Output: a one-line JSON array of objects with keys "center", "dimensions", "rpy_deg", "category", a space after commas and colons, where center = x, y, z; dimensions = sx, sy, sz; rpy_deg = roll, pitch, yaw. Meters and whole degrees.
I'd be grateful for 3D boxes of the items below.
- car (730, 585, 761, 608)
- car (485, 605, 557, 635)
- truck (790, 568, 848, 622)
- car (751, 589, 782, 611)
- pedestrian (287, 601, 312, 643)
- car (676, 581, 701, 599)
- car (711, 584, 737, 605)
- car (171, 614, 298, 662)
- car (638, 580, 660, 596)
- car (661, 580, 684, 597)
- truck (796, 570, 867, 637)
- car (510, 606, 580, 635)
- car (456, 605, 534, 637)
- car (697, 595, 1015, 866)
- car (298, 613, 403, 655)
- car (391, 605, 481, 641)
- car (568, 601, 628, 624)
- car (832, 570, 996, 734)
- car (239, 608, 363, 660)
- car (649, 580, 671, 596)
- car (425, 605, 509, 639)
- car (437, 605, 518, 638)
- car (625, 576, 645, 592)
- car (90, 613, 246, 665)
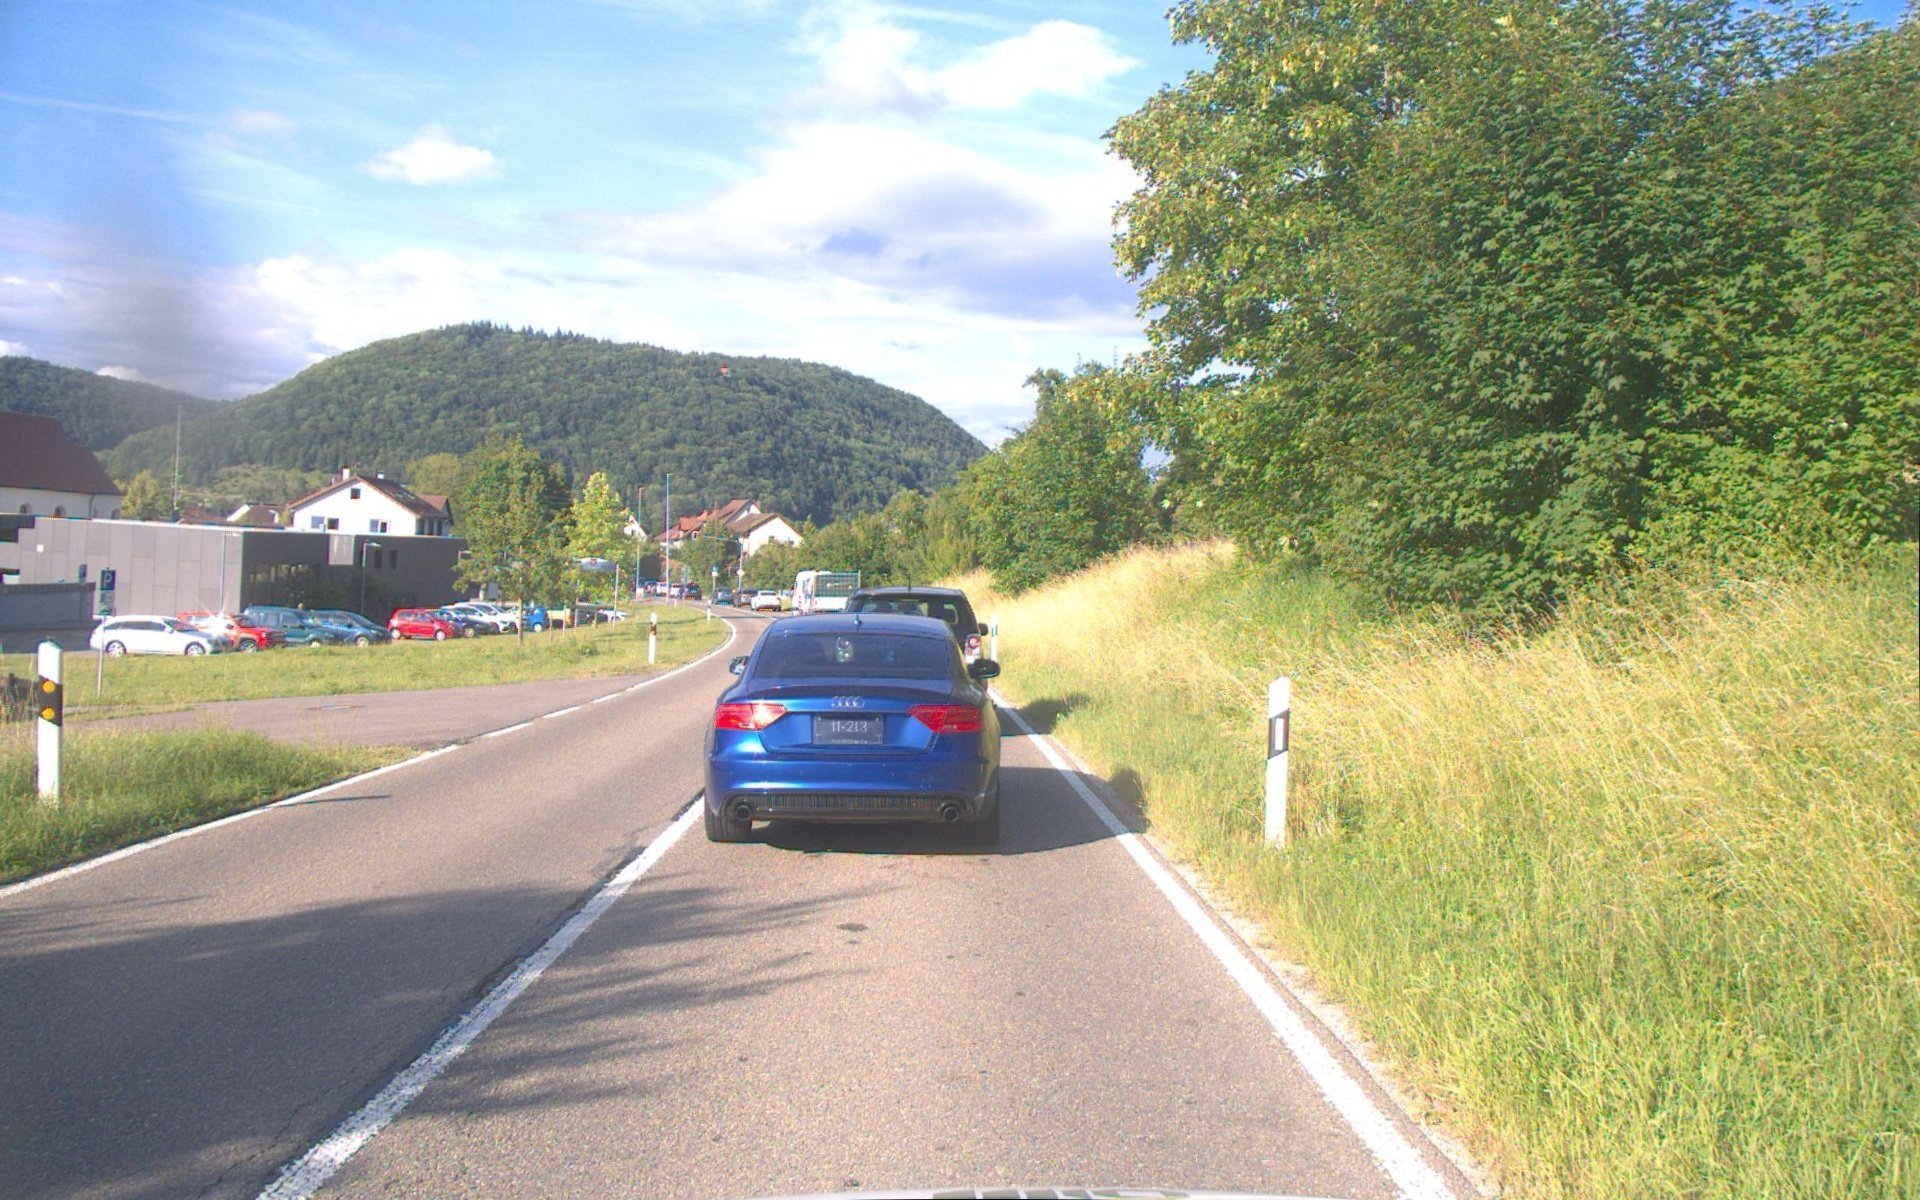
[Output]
[{"center": [-16.835, -0.303, 129.698], "dimensions": [1.815, 1.742, 3.984], "rpy_deg": [1, 0, -15], "category": "car"}, {"center": [-26.743, 1.235, 100.893], "dimensions": [3.907, 1.741, 1.999], "rpy_deg": [1, 0, -3], "category": "car"}, {"center": [-7.238, -0.219, 84.126], "dimensions": [2.190, 2.615, 6.689], "rpy_deg": [1, 0, -11], "category": "truck"}, {"center": [-13.688, -0.023, 117.037], "dimensions": [1.813, 1.508, 3.988], "rpy_deg": [1, 0, -12], "category": "car"}, {"center": [-32.538, 1.089, 81.529], "dimensions": [0.808, 2.049, 0.973], "rpy_deg": [1, -1, -1], "category": "pedestrian"}, {"center": [-26.779, -0.992, 163.301], "dimensions": [1.817, 1.742, 3.979], "rpy_deg": [1, 0, -18], "category": "car"}, {"center": [-20.549, -0.478, 143.979], "dimensions": [1.815, 1.742, 3.984], "rpy_deg": [1, 0, -15], "category": "car"}, {"center": [-27.588, 1.435, 62.994], "dimensions": [3.907, 1.741, 1.999], "rpy_deg": [1, 0, -3], "category": "car"}, {"center": [-35.526, -1.372, 188.836], "dimensions": [1.818, 1.742, 3.977], "rpy_deg": [1, 0, -19], "category": "car"}, {"center": [-30.078, -1.217, 172.938], "dimensions": [1.817, 1.742, 3.979], "rpy_deg": [1, 0, -18], "category": "car"}, {"center": [-5.388, 0.136, 68.614], "dimensions": [2.190, 2.615, 6.087], "rpy_deg": [1, 0, -11], "category": "truck"}, {"center": [-25.968, 1.263, 103.579], "dimensions": [3.907, 1.741, 1.999], "rpy_deg": [1, 0, -3], "category": "car"}, {"center": [-26.713, 1.203, 95.107], "dimensions": [3.907, 1.741, 1.999], "rpy_deg": [1, 0, -3], "category": "car"}, {"center": [-0.565, 0.726, 10.976], "dimensions": [1.718, 1.455, 3.846], "rpy_deg": [1, 0, 0], "category": "car"}, {"center": [-26.974, 1.503, 73.317], "dimensions": [3.907, 1.741, 1.999], "rpy_deg": [1, 0, -3], "category": "car"}, {"center": [-26.464, 1.144, 83.622], "dimensions": [3.907, 1.741, 1.999], "rpy_deg": [1, 0, -3], "category": "car"}, {"center": [-25.821, 0.894, 118.148], "dimensions": [3.907, 1.606, 1.751], "rpy_deg": [1, 0, -3], "category": "car"}, {"center": [-0.486, 0.566, 19.489], "dimensions": [1.718, 1.710, 3.846], "rpy_deg": [1, 0, 0], "category": "car"}, {"center": [-27.367, 1.402, 68.809], "dimensions": [4.318, 2.043, 1.999], "rpy_deg": [1, 0, -3], "category": "car"}, {"center": [-32.823, -1.291, 181.141], "dimensions": [1.817, 1.742, 3.979], "rpy_deg": [1, 0, -19], "category": "car"}, {"center": [-26.240, 1.173, 88.174], "dimensions": [3.907, 1.741, 1.999], "rpy_deg": [1, 0, -3], "category": "car"}, {"center": [-26.764, 1.184, 91.822], "dimensions": [3.907, 1.741, 1.999], "rpy_deg": [1, 0, -3], "category": "car"}, {"center": [-38.436, -1.878, 195.793], "dimensions": [1.817, 1.742, 3.979], "rpy_deg": [1, 0, -19], "category": "car"}, {"center": [-28.651, 1.401, 59.970], "dimensions": [4.637, 1.741, 1.999], "rpy_deg": [1, 0, -3], "category": "car"}]
